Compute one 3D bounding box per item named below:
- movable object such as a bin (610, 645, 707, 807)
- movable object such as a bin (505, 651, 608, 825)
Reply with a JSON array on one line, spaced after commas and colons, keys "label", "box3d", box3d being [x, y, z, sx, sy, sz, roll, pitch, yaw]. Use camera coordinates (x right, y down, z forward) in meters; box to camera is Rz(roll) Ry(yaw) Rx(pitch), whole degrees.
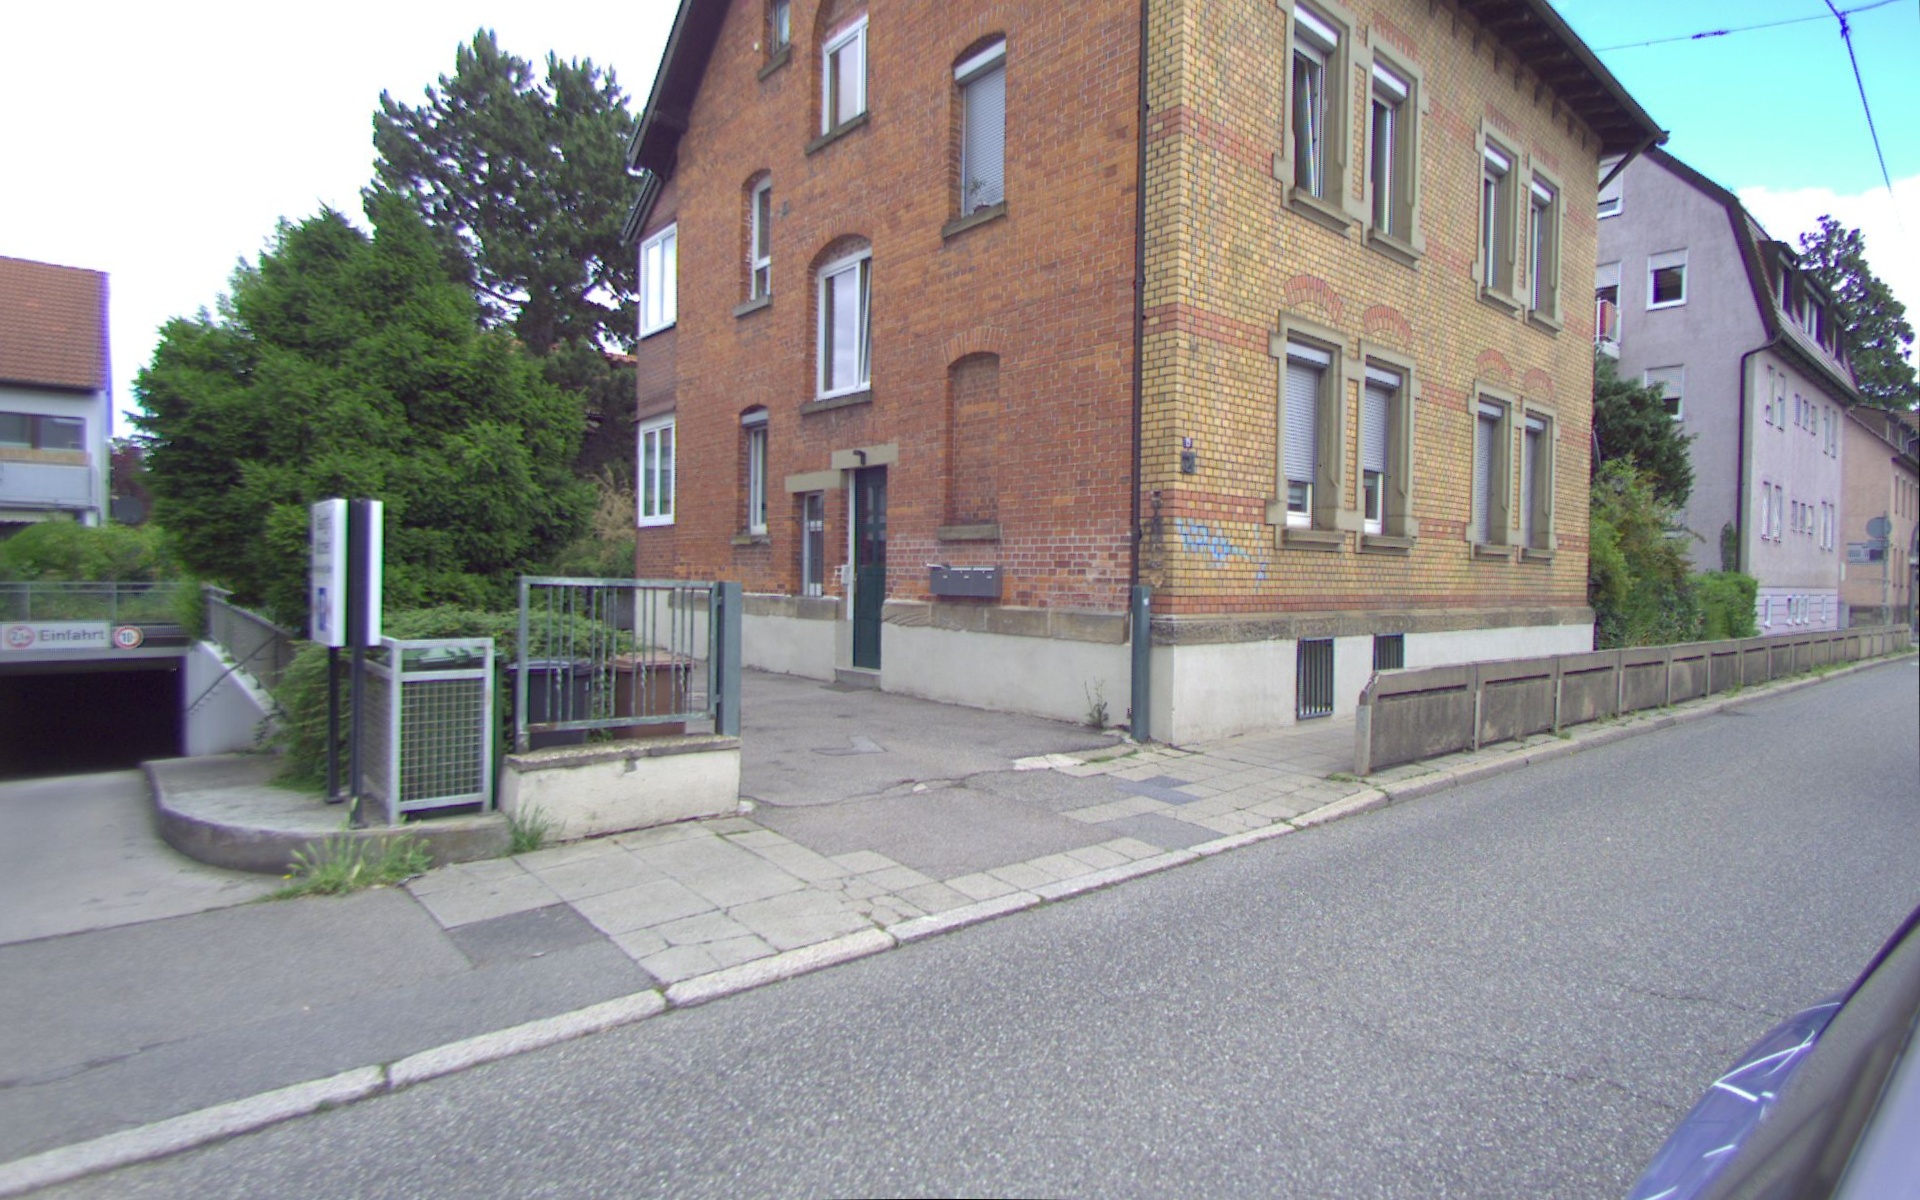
[{"label": "movable object such as a bin", "box3d": [-1.857, 0.752, 6.228, 0.448, 0.915, 0.398, 0, 1, -41]}, {"label": "movable object such as a bin", "box3d": [-2.341, 0.776, 5.874, 0.448, 0.915, 0.398, 0, 1, -41]}]
